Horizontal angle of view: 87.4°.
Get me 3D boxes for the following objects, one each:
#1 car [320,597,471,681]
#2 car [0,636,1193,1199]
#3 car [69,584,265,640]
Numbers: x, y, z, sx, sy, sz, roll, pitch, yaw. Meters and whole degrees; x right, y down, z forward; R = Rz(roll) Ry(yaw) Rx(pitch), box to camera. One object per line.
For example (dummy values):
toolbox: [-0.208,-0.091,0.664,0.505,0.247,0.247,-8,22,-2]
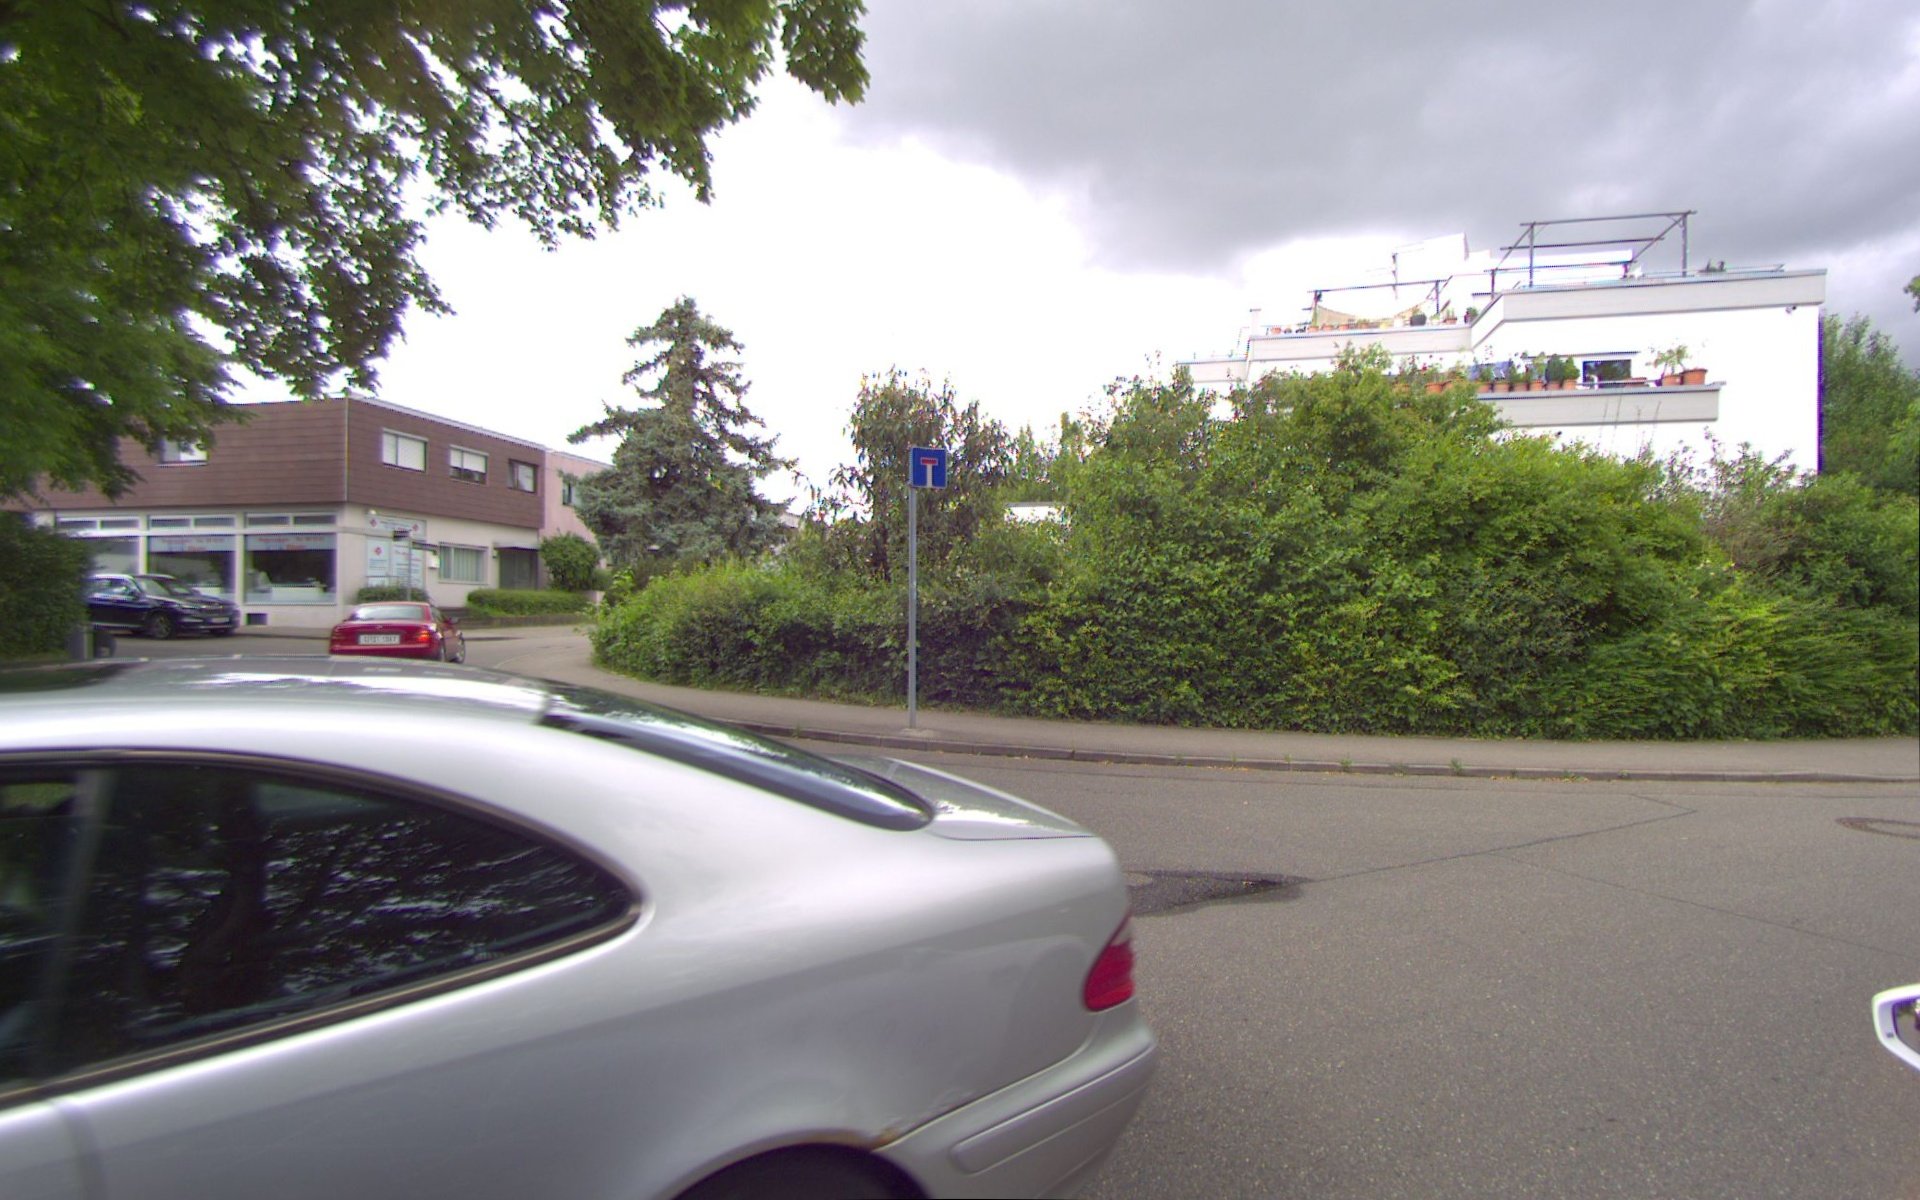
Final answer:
car: [-10.192,0.649,18.436,1.729,1.353,4.047,1,0,-20]
car: [-1.782,0.761,1.670,4.248,1.324,1.771,1,0,-32]
car: [-21.556,0.284,27.359,4.192,1.395,2.001,1,2,13]
